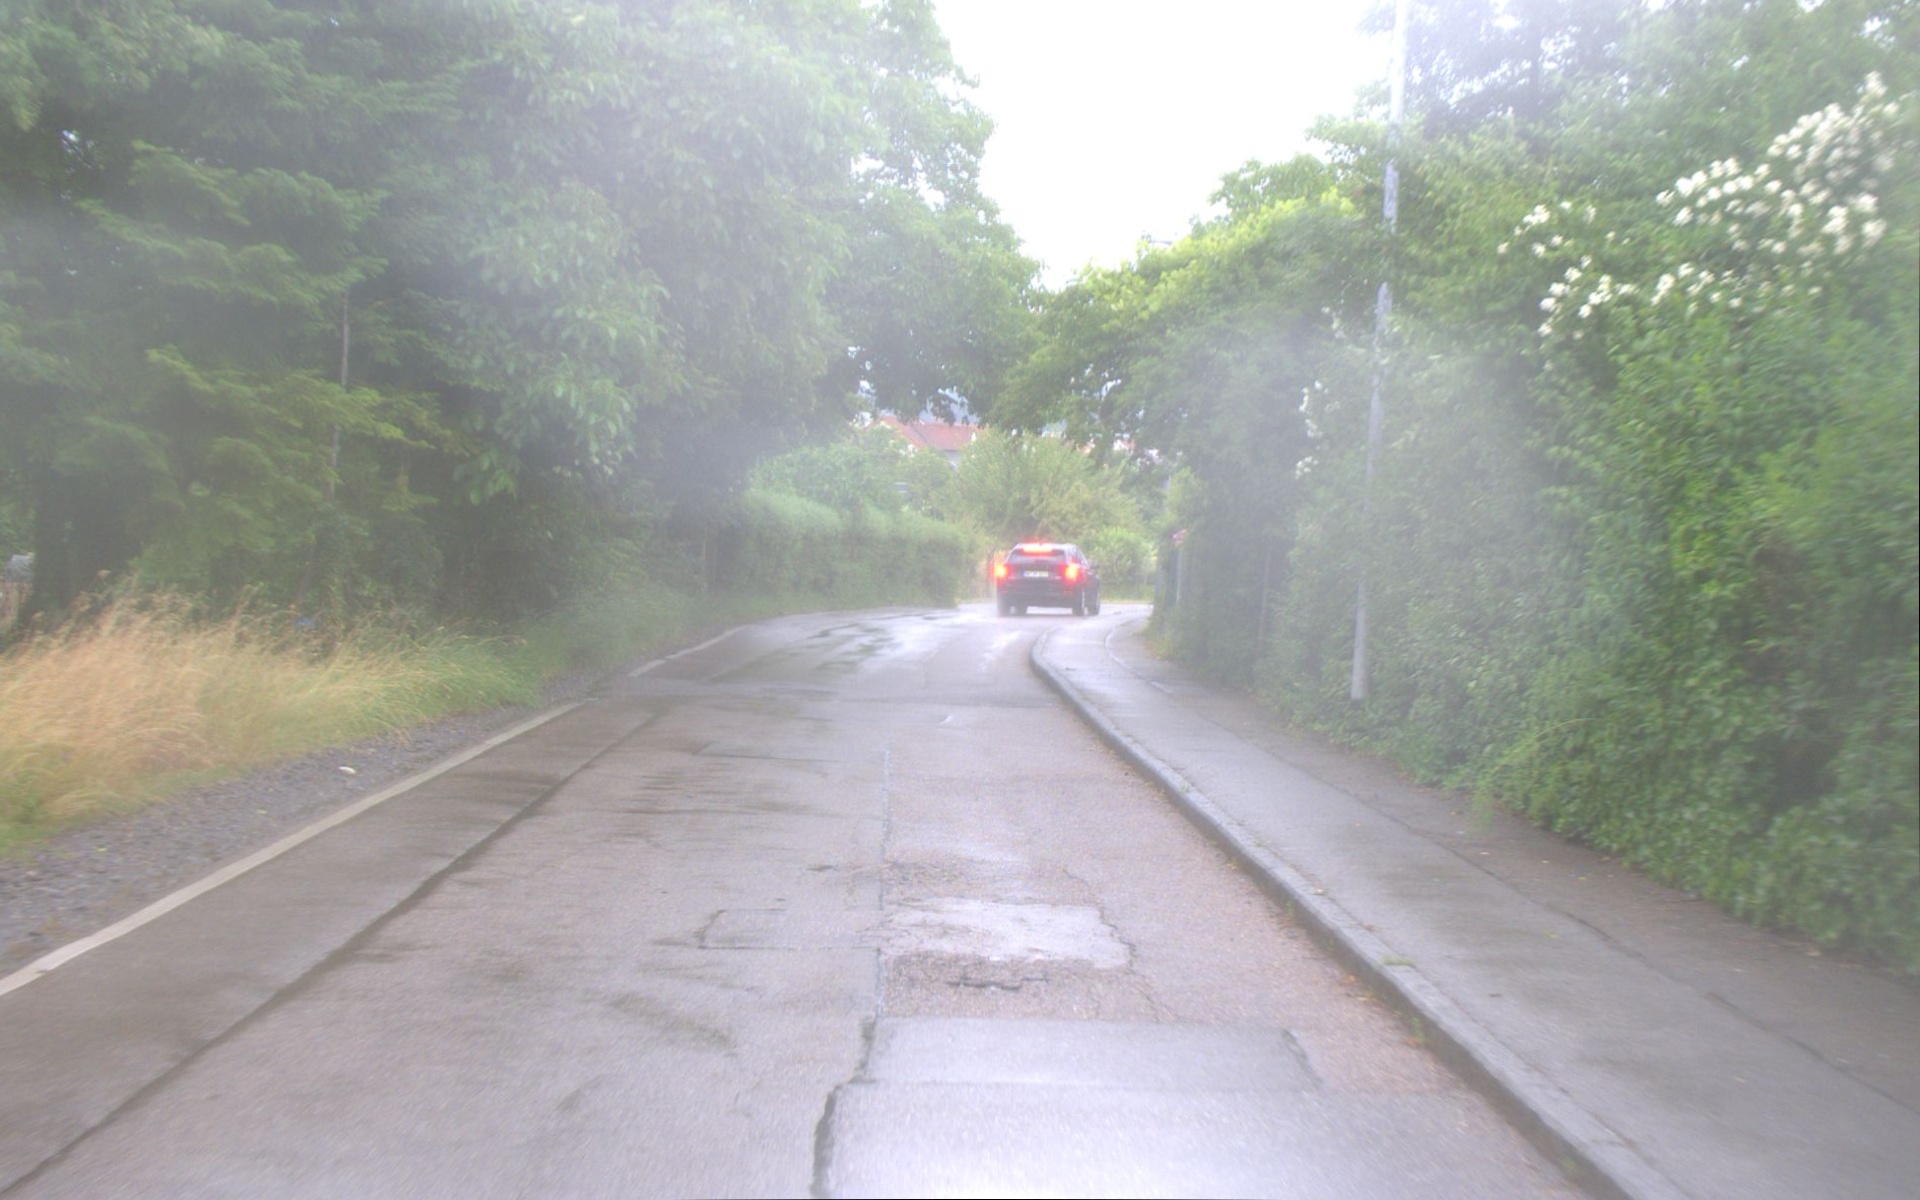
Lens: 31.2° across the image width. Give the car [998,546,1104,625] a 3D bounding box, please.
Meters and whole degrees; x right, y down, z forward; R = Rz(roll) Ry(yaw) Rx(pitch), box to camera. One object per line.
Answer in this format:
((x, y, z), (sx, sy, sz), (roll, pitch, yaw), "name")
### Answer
((1.893, -0.276, 70.475), (1.635, 1.445, 3.543), (3, -1, 10), "car")
